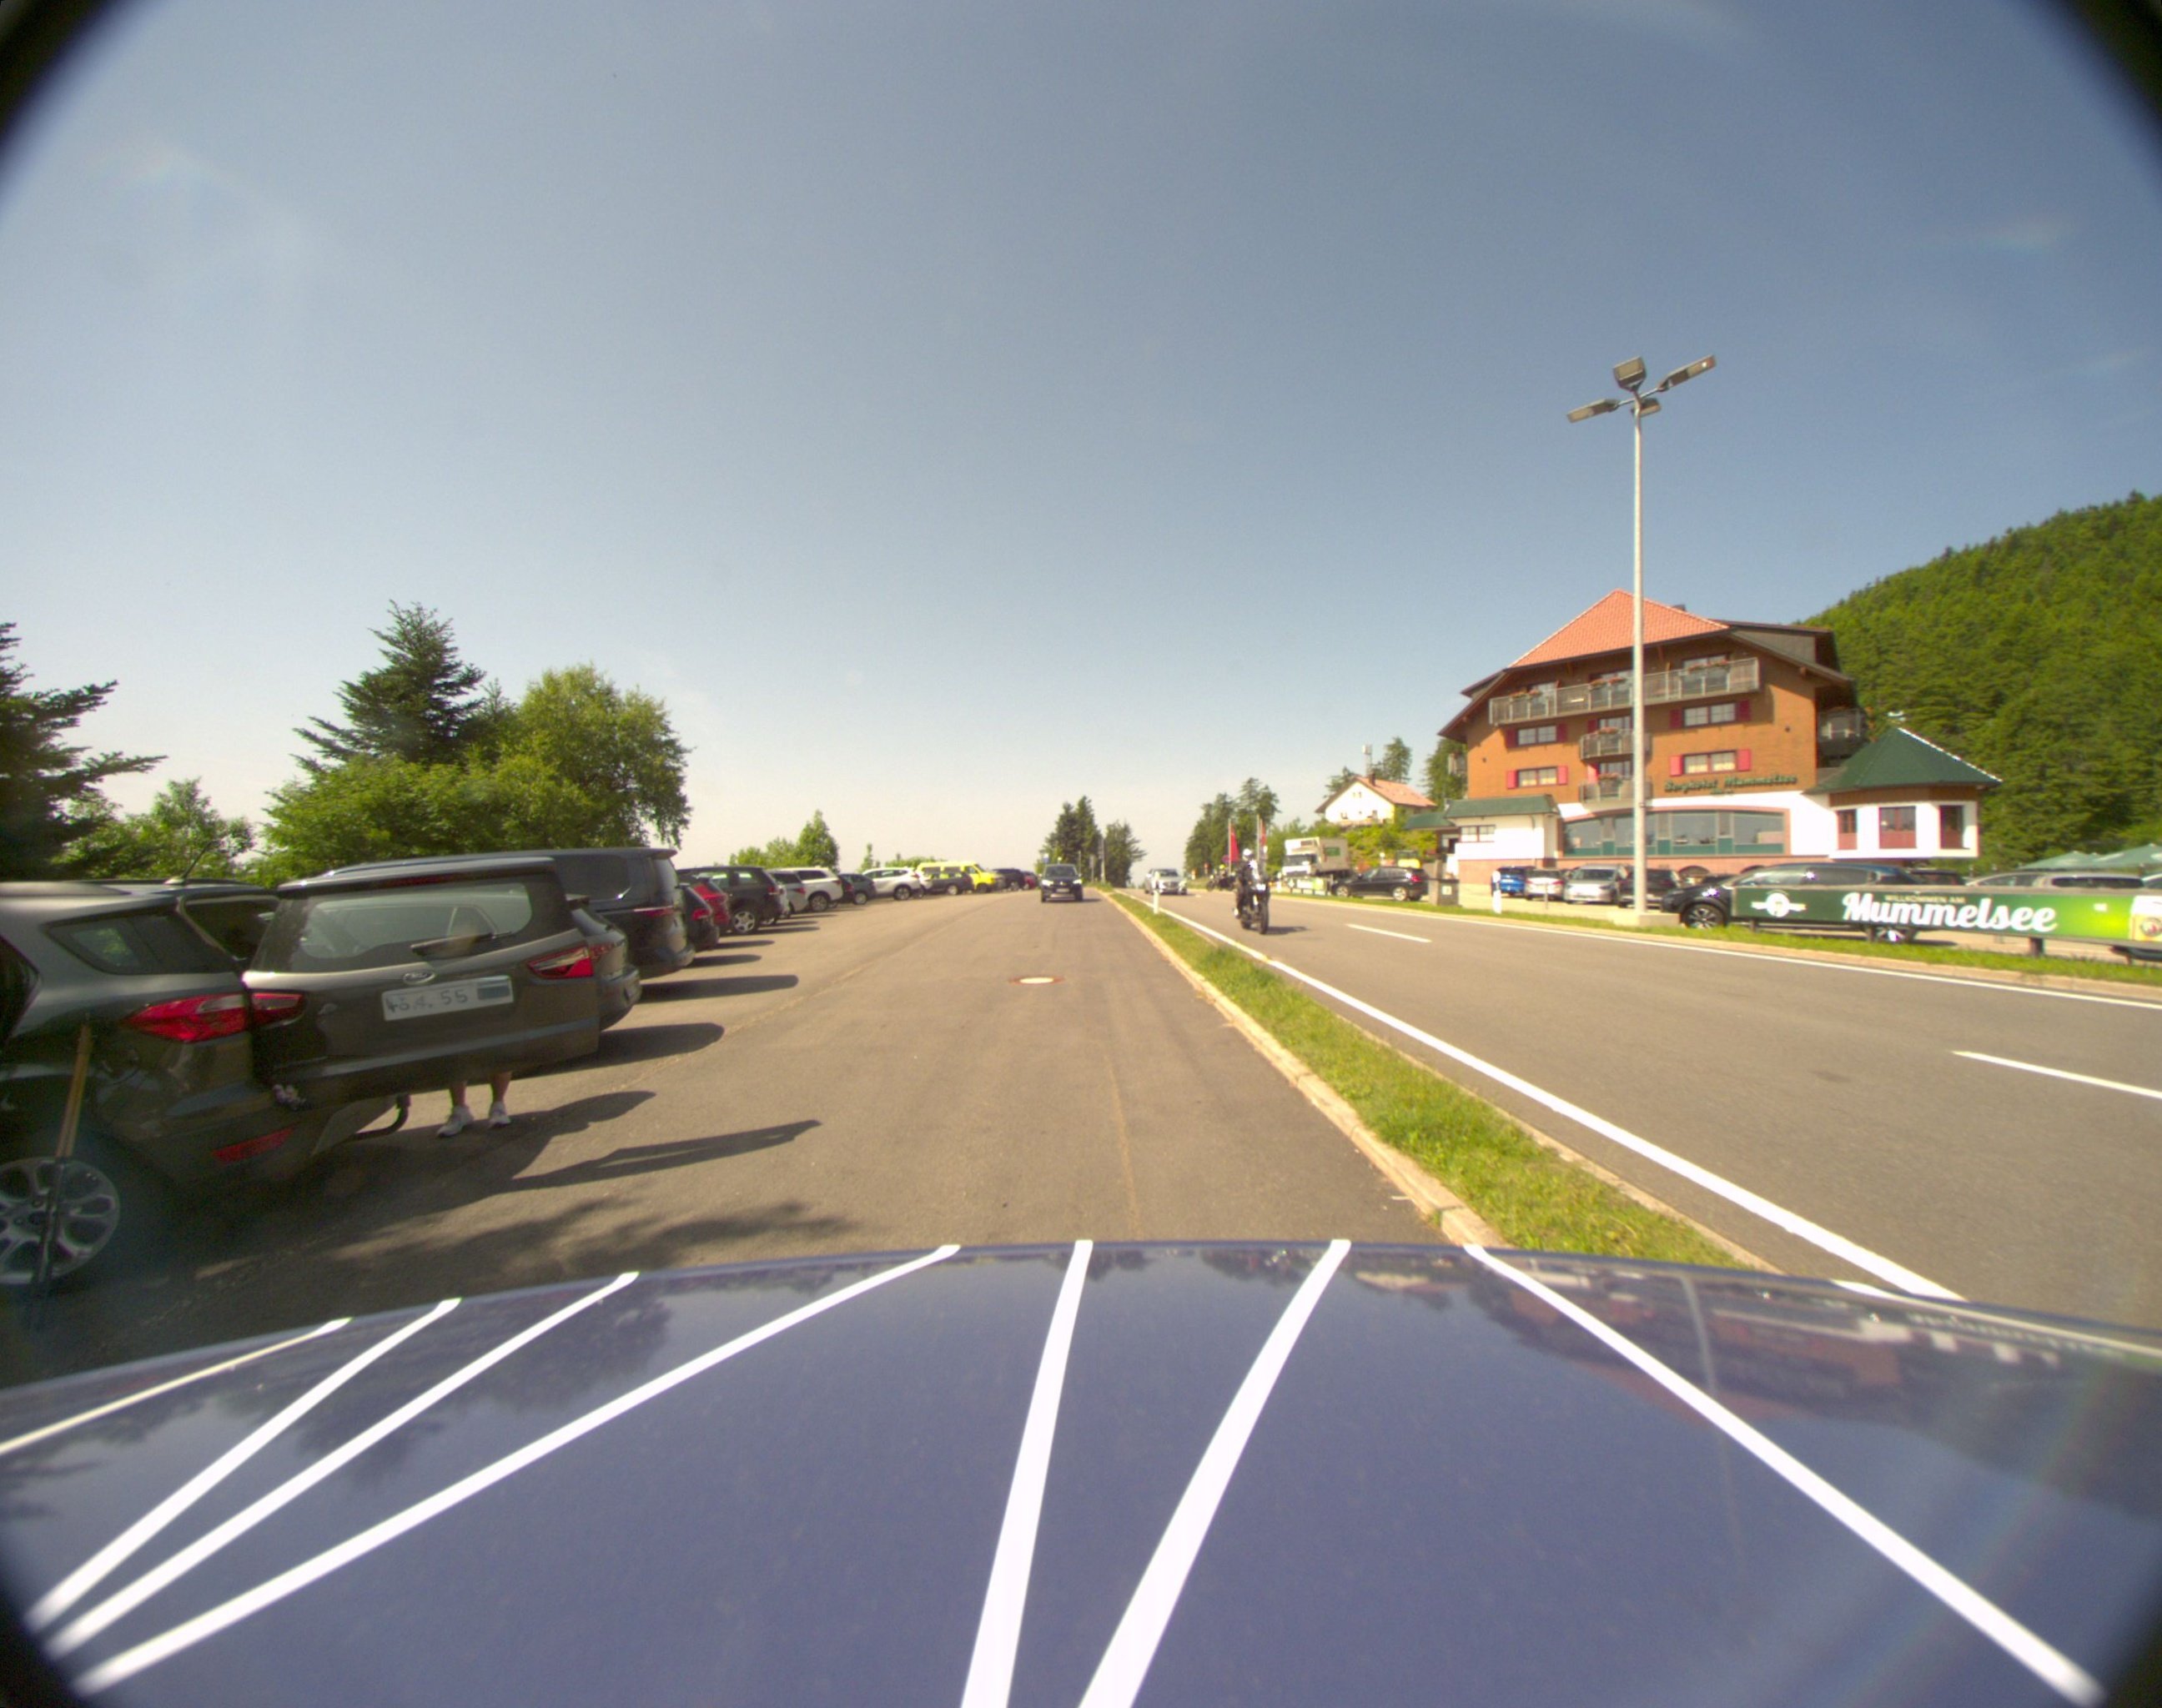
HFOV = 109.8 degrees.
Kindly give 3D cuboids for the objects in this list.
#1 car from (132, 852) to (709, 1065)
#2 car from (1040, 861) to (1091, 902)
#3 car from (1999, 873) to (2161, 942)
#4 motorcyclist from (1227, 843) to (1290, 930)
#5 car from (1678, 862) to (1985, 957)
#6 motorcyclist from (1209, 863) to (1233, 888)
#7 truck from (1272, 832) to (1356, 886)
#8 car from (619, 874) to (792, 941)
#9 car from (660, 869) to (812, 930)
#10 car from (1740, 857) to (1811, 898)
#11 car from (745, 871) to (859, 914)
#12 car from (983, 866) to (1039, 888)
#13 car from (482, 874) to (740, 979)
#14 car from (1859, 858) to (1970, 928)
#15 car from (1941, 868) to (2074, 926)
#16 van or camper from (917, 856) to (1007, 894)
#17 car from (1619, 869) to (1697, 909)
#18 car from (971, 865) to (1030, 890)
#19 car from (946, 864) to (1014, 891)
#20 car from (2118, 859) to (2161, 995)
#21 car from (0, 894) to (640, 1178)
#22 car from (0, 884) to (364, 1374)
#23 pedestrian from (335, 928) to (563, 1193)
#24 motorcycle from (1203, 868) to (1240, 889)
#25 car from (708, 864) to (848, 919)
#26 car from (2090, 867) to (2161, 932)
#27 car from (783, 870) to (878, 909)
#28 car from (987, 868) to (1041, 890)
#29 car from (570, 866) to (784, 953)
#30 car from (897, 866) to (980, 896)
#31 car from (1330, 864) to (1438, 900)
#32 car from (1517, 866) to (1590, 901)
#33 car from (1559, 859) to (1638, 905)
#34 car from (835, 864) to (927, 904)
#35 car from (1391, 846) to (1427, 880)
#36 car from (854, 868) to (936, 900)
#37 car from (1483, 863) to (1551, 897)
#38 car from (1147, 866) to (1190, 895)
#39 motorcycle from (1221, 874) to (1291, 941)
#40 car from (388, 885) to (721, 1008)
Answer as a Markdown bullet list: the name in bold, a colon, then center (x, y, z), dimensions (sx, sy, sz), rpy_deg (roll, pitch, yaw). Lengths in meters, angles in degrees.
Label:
- **car**: center (-7.321, 1.049, 9.161), dimensions (4.776, 1.869, 1.963), rpy_deg (-3, 0, -19)
- **car**: center (-0.585, 1.144, 32.527), dimensions (1.985, 1.607, 4.151), rpy_deg (0, -1, 1)
- **car**: center (22.044, 1.119, 16.830), dimensions (4.009, 1.362, 1.807), rpy_deg (2, -2, -45)
- **motorcyclist**: center (3.673, 0.649, 15.864), dimensions (0.925, 1.707, 1.452), rpy_deg (-1, 0, -2)
- **car**: center (14.145, 0.956, 14.531), dimensions (1.787, 1.542, 3.989), rpy_deg (1, -2, -39)
- **motorcyclist**: center (9.671, 1.498, 52.586), dimensions (1.250, 1.709, 1.062), rpy_deg (-1, 0, -29)
- **truck**: center (18.757, 0.346, 60.810), dimensions (3.062, 3.948, 8.789), rpy_deg (-4, -1, 40)
- **car**: center (-10.112, 1.383, 20.698), dimensions (4.005, 1.467, 1.764), rpy_deg (-3, 1, -26)
- **car**: center (-10.649, 1.361, 23.532), dimensions (4.006, 1.540, 1.816), rpy_deg (-3, 0, -33)
- **car**: center (27.052, 0.919, 29.606), dimensions (1.929, 1.473, 4.009), rpy_deg (0, -2, 43)
- **car**: center (-11.289, 1.516, 30.792), dimensions (4.057, 1.452, 1.891), rpy_deg (-3, 0, -28)
- **car**: center (-5.649, 1.845, 61.671), dimensions (4.410, 1.558, 1.907), rpy_deg (-2, -2, -6)
- **car**: center (-8.982, 1.310, 14.903), dimensions (4.005, 1.580, 1.860), rpy_deg (-3, 0, -28)
- **car**: center (22.572, 1.020, 20.529), dimensions (4.009, 1.693, 1.821), rpy_deg (2, -2, -40)
- **car**: center (27.536, 1.237, 22.728), dimensions (1.994, 1.542, 4.009), rpy_deg (0, -2, 43)
- **van or camper**: center (-7.289, 1.291, 46.885), dimensions (5.101, 2.001, 1.883), rpy_deg (-3, -2, 5)
- **car**: center (22.445, 1.333, 29.497), dimensions (1.909, 1.421, 4.009), rpy_deg (-1, -2, 45)
- **car**: center (-5.554, 1.622, 52.687), dimensions (3.999, 1.604, 1.916), rpy_deg (-2, -1, -5)
- **car**: center (-6.592, 1.553, 49.979), dimensions (4.160, 1.579, 1.706), rpy_deg (-2, -1, 3)
- **car**: center (14.376, 0.810, 7.897), dimensions (1.744, 1.558, 4.048), rpy_deg (0, -1, -44)
- **car**: center (-5.797, 1.169, 5.784), dimensions (4.004, 1.434, 1.836), rpy_deg (-3, 0, -25)
- **car**: center (-5.730, 1.150, 2.773), dimensions (4.004, 1.652, 1.996), rpy_deg (-5, 1, -27)
- **pedestrian**: center (-3.740, 1.172, 4.554), dimensions (0.775, 1.394, 0.669), rpy_deg (0, -1, 6)
- **motorcycle**: center (9.738, 1.656, 52.608), dimensions (2.448, 1.398, 1.004), rpy_deg (0, 0, -29)
- **car**: center (-10.762, 1.298, 27.127), dimensions (4.234, 1.684, 1.859), rpy_deg (-2, -1, -37)
- **car**: center (27.438, 1.125, 18.980), dimensions (1.994, 1.542, 4.009), rpy_deg (0, -2, 43)
- **car**: center (-11.101, 1.563, 33.660), dimensions (3.810, 1.450, 1.660), rpy_deg (-3, -1, -22)
- **car**: center (-5.125, 1.916, 57.971), dimensions (4.000, 1.500, 1.841), rpy_deg (-1, -2, -9)
- **car**: center (-9.592, 1.249, 18.380), dimensions (4.278, 1.684, 1.987), rpy_deg (-3, 0, -26)
- **car**: center (-8.195, 1.558, 43.983), dimensions (4.360, 1.478, 1.813), rpy_deg (-3, -2, 4)
- **car**: center (13.768, 1.268, 34.678), dimensions (1.812, 1.531, 4.180), rpy_deg (2, -2, -45)
- **car**: center (22.343, 1.371, 35.873), dimensions (4.009, 1.536, 1.994), rpy_deg (2, -2, -43)
- **car**: center (22.667, 1.218, 33.224), dimensions (4.540, 1.852, 1.830), rpy_deg (2, -2, -42)
- **car**: center (-9.860, 1.453, 37.455), dimensions (4.188, 1.640, 1.889), rpy_deg (-3, 0, -20)
- **car**: center (24.437, 0.714, 56.699), dimensions (1.996, 2.480, 4.006), rpy_deg (0, -2, 17)
- **car**: center (-9.820, 1.557, 40.342), dimensions (4.100, 1.491, 1.942), rpy_deg (-2, 0, -12)
- **car**: center (22.581, 1.312, 39.275), dimensions (1.934, 1.654, 4.555), rpy_deg (-1, -1, 45)
- **car**: center (4.583, 1.387, 40.233), dimensions (1.781, 1.448, 4.001), rpy_deg (1, -2, 0)
- **motorcycle**: center (3.624, 1.072, 15.942), dimensions (0.878, 1.249, 2.277), rpy_deg (-1, 0, -1)
- **car**: center (-8.007, 1.316, 11.988), dimensions (4.006, 1.406, 1.741), rpy_deg (-3, 0, -31)
